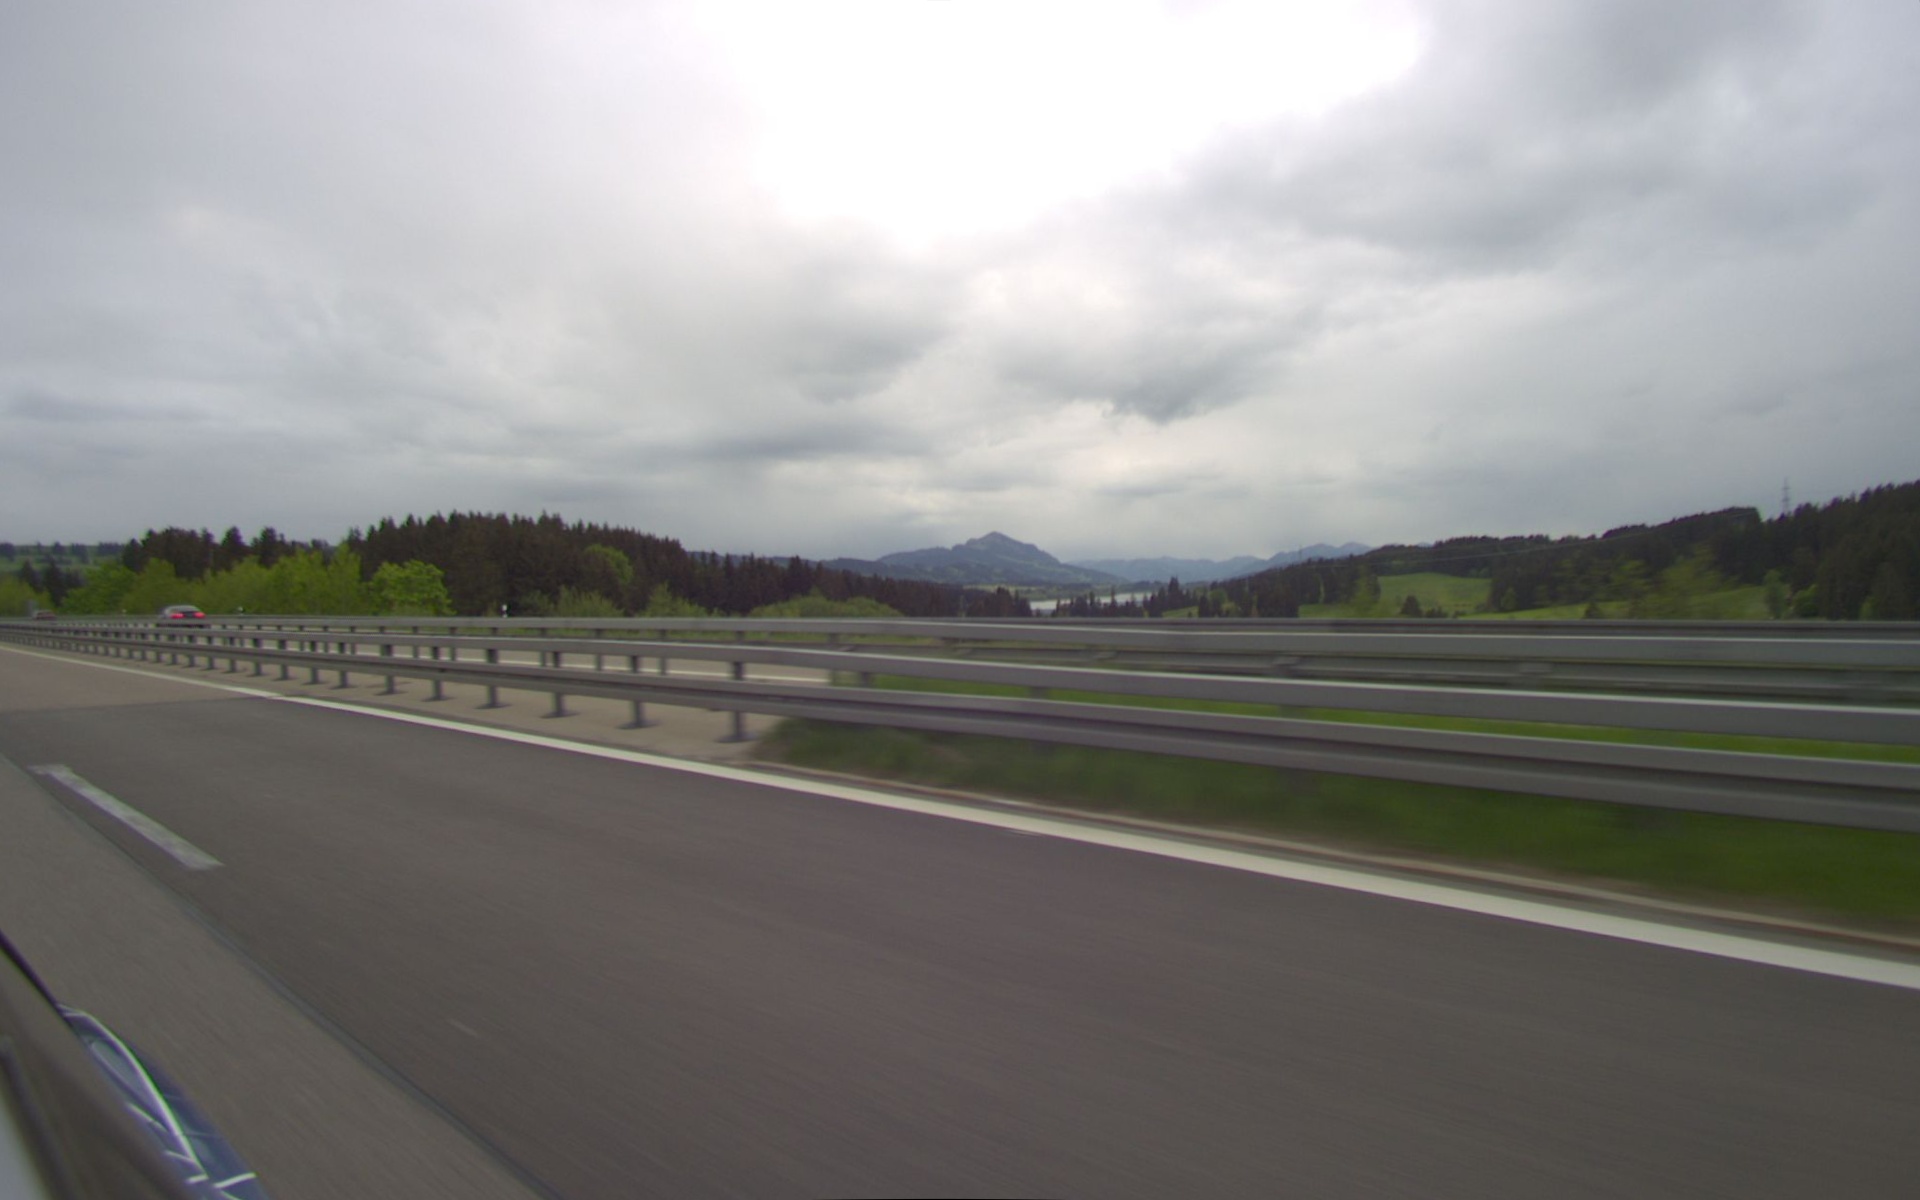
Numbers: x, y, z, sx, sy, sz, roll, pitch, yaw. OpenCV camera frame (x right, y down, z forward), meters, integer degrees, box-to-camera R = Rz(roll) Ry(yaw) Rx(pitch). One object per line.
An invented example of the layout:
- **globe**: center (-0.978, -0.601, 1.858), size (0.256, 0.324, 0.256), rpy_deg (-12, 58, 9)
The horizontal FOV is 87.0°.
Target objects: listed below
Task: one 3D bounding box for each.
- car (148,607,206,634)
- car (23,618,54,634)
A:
- **car**: center (-50.540, 1.295, 65.297), size (4.844, 1.629, 1.973), rpy_deg (-1, 0, 40)
- **car**: center (-97.082, 2.735, 106.607), size (4.227, 1.624, 1.880), rpy_deg (-1, 1, 41)
